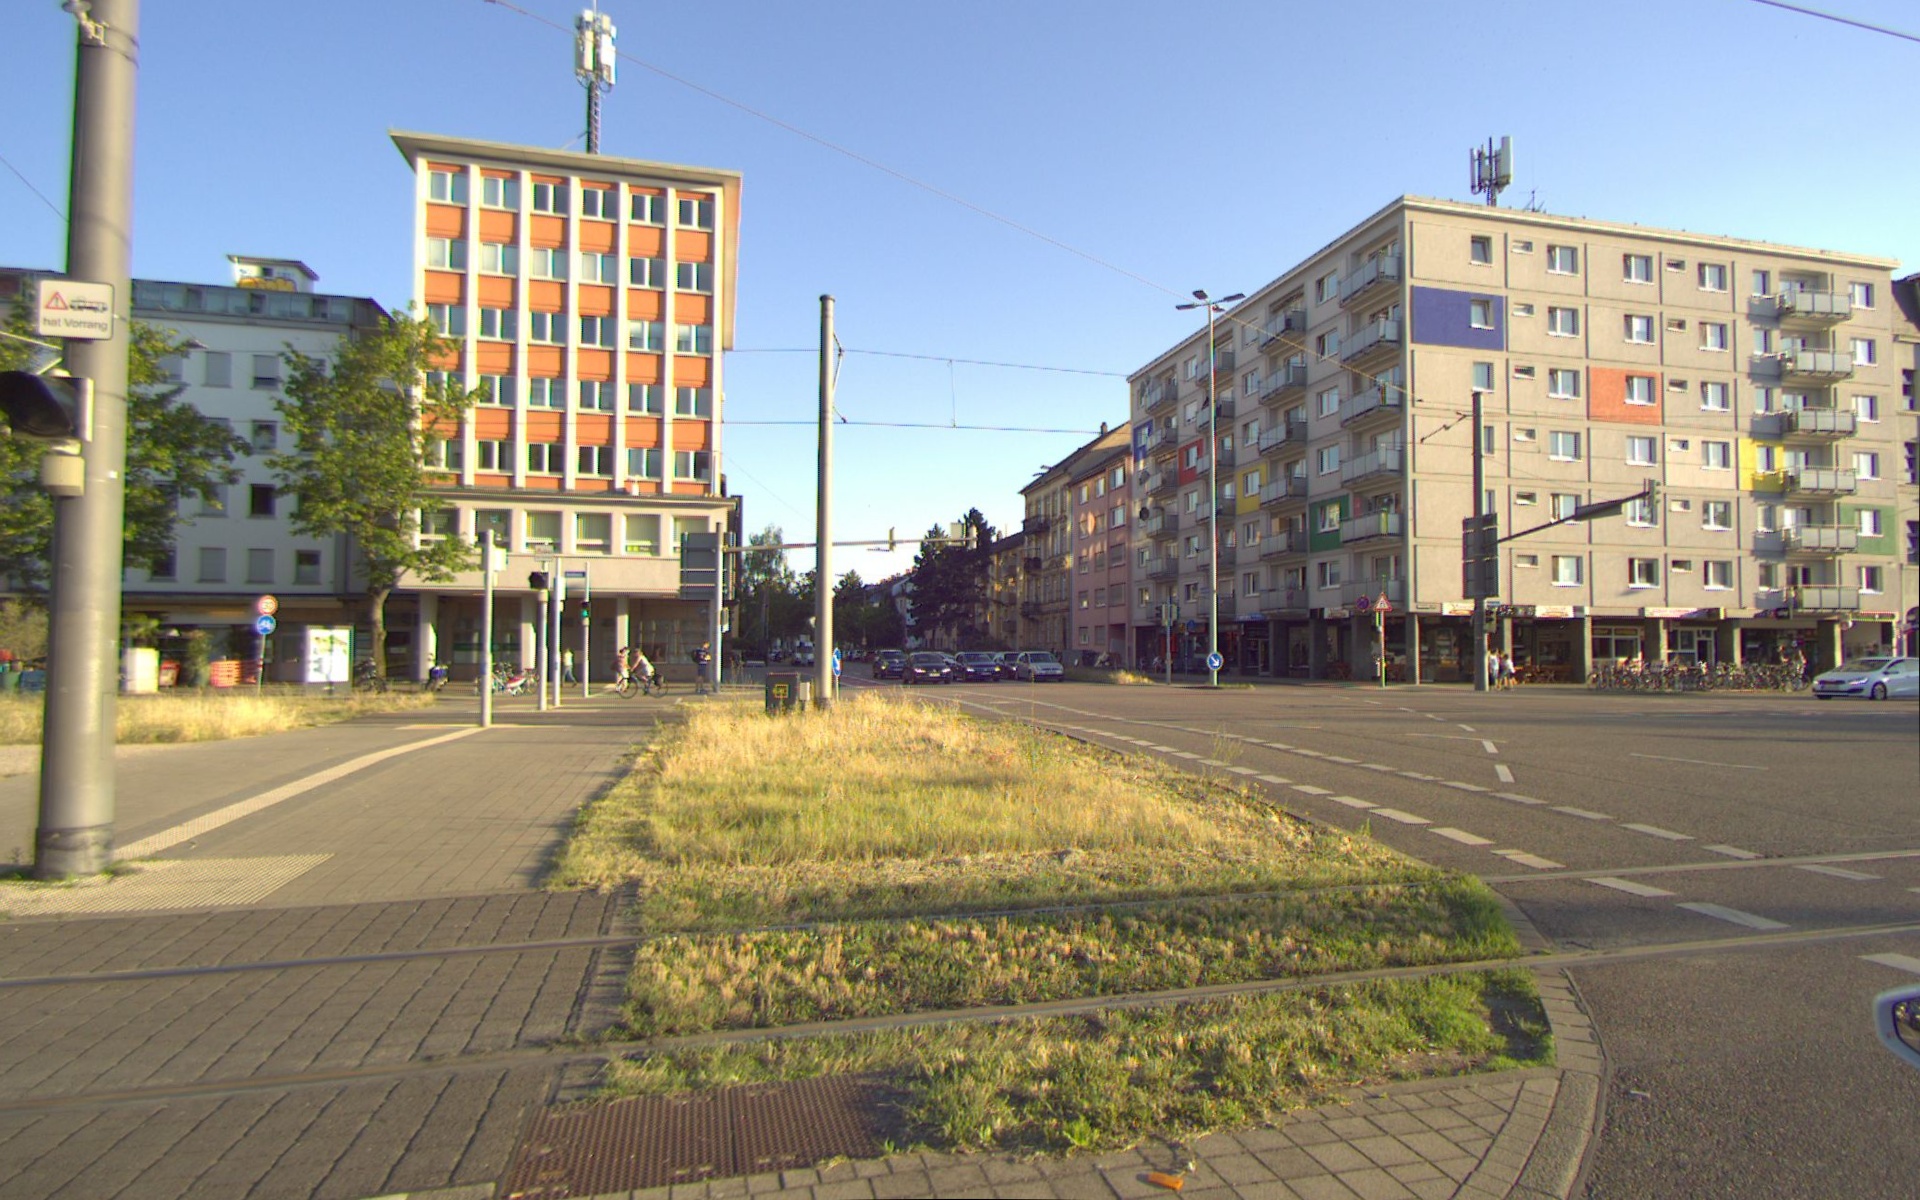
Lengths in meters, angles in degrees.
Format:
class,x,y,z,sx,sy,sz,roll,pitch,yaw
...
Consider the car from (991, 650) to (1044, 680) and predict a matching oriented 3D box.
class,x,y,z,sx,sy,sz,roll,pitch,yaw
car,3.010,3.418,53.515,1.964,1.505,3.993,1,-3,-11

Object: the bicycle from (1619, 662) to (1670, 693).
class,x,y,z,sx,sy,sz,roll,pitch,yaw
bicycle,27.589,3.112,40.488,0.589,1.154,1.758,1,-2,-13

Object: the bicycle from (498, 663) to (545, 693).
class,x,y,z,sx,sy,sz,roll,pitch,yaw
bicycle,-16.166,2.861,37.070,1.535,1.089,0.394,1,-2,-15

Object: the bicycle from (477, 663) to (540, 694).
class,x,y,z,sx,sy,sz,roll,pitch,yaw
bicycle,-16.053,2.787,35.772,1.962,1.089,0.467,1,-2,-15

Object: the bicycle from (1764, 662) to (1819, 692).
class,x,y,z,sx,sy,sz,roll,pitch,yaw
bicycle,35.103,3.235,42.434,0.735,1.185,1.692,1,-2,-12

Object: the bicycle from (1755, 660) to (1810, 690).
class,x,y,z,sx,sy,sz,roll,pitch,yaw
bicycle,34.406,3.127,42.053,0.735,1.194,1.692,1,-2,-12

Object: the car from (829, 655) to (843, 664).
class,x,y,z,sx,sy,sz,roll,pitch,yaw
car,-21.980,10.490,177.640,1.966,1.537,4.211,1,-3,-13

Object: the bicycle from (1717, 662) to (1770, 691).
class,x,y,z,sx,sy,sz,roll,pitch,yaw
bicycle,32.412,3.139,41.592,0.558,1.134,1.762,1,-2,-13

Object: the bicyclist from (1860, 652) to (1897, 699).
class,x,y,z,sx,sy,sz,roll,pitch,yaw
bicyclist,35.395,2.900,38.716,0.776,1.765,0.704,0,-2,-3

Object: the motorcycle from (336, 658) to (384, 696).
class,x,y,z,sx,sy,sz,roll,pitch,yaw
motorcycle,-21.079,2.697,35.321,1.366,1.335,0.380,1,-2,-13

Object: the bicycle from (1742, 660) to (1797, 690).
class,x,y,z,sx,sy,sz,roll,pitch,yaw
bicycle,33.705,3.103,41.854,0.693,1.168,1.692,1,-2,-12

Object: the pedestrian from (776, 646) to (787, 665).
class,x,y,z,sx,sy,sz,roll,pitch,yaw
pedestrian,-20.142,6.262,113.566,1.013,2.040,0.938,1,-2,-27

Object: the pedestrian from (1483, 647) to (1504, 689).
class,x,y,z,sx,sy,sz,roll,pitch,yaw
pedestrian,21.118,2.678,39.743,0.565,1.641,0.600,-2,-3,45

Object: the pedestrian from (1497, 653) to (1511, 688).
class,x,y,z,sx,sy,sz,roll,pitch,yaw
pedestrian,21.707,2.808,40.083,0.392,1.401,0.378,2,-3,-42

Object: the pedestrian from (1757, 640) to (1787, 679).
class,x,y,z,sx,sy,sz,roll,pitch,yaw
pedestrian,38.408,2.815,47.503,0.711,1.836,0.824,0,-2,-25

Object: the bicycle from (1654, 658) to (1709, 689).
class,x,y,z,sx,sy,sz,roll,pitch,yaw
bicycle,29.302,2.968,40.827,0.641,1.206,1.790,1,-2,-14

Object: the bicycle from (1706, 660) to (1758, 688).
class,x,y,z,sx,sy,sz,roll,pitch,yaw
bicycle,31.850,3.046,41.472,0.542,1.131,1.756,1,-2,-13

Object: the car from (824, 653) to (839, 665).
class,x,y,z,sx,sy,sz,roll,pitch,yaw
car,-21.099,9.599,164.435,1.966,1.857,4.210,1,-2,-13

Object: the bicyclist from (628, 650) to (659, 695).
class,x,y,z,sx,sy,sz,roll,pitch,yaw
bicyclist,-10.393,2.387,33.041,0.840,1.445,0.501,0,-2,1

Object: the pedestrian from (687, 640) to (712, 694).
class,x,y,z,sx,sy,sz,roll,pitch,yaw
pedestrian,-9.729,2.483,37.491,0.716,1.972,0.712,1,-2,-31

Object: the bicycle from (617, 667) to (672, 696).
class,x,y,z,sx,sy,sz,roll,pitch,yaw
bicycle,-10.364,2.678,33.042,1.635,0.956,0.509,0,-2,1

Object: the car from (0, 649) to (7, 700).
class,x,y,z,sx,sy,sz,roll,pitch,yaw
car,-34.238,2.485,33.125,3.919,1.706,2.002,0,-2,6

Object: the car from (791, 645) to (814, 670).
class,x,y,z,sx,sy,sz,roll,pitch,yaw
car,-15.511,5.620,98.712,1.966,2.354,4.211,1,-2,-13

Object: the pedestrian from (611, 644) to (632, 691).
class,x,y,z,sx,sy,sz,roll,pitch,yaw
pedestrian,-13.411,2.656,39.828,0.701,1.842,0.750,1,-2,-14

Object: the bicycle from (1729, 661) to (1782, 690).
class,x,y,z,sx,sy,sz,roll,pitch,yaw
bicycle,33.033,3.109,41.732,0.623,1.139,1.729,1,-2,-12

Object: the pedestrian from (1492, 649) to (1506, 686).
class,x,y,z,sx,sy,sz,roll,pitch,yaw
pedestrian,21.850,2.731,40.731,0.392,1.467,0.373,2,-3,-42

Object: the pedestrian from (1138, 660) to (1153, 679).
class,x,y,z,sx,sy,sz,roll,pitch,yaw
pedestrian,12.695,4.777,68.804,0.701,1.272,0.790,1,-4,-17

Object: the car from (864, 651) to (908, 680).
class,x,y,z,sx,sy,sz,roll,pitch,yaw
car,-4.240,3.686,57.053,1.965,1.551,3.991,1,-2,-12

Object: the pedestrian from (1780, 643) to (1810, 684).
class,x,y,z,sx,sy,sz,roll,pitch,yaw
pedestrian,38.711,2.935,46.553,0.724,1.865,0.784,1,-2,-23

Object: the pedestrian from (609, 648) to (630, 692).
class,x,y,z,sx,sy,sz,roll,pitch,yaw
pedestrian,-13.261,2.714,39.096,0.718,1.707,0.584,1,-2,-16

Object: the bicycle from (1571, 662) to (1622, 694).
class,x,y,z,sx,sy,sz,roll,pitch,yaw
bicycle,25.873,3.152,40.852,0.627,1.224,1.795,1,-2,-15

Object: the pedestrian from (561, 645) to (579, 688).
class,x,y,z,sx,sy,sz,roll,pitch,yaw
pedestrian,-16.949,2.877,43.636,0.630,1.815,0.584,1,-2,-16

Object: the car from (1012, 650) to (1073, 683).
class,x,y,z,sx,sy,sz,roll,pitch,yaw
car,3.947,3.182,48.837,1.964,1.505,3.993,1,-2,-11

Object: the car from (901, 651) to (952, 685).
class,x,y,z,sx,sy,sz,roll,pitch,yaw
car,-1.608,3.143,46.866,1.853,1.505,3.993,1,-3,-11

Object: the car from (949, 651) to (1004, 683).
class,x,y,z,sx,sy,sz,roll,pitch,yaw
car,0.782,3.310,50.027,1.964,1.505,3.993,1,-3,-11

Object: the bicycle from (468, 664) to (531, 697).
class,x,y,z,sx,sy,sz,roll,pitch,yaw
bicycle,-15.681,2.739,34.231,1.875,1.089,0.467,1,-2,-15

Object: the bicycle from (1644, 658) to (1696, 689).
class,x,y,z,sx,sy,sz,roll,pitch,yaw
bicycle,28.688,2.978,40.633,0.558,1.197,1.770,1,-2,-14

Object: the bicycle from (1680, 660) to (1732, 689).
class,x,y,z,sx,sy,sz,roll,pitch,yaw
bicycle,31.135,3.092,41.951,0.595,1.150,1.772,1,-2,-13

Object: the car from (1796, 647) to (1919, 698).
class,x,y,z,sx,sy,sz,roll,pitch,yaw
car,30.337,2.397,33.515,3.931,1.639,1.691,1,-3,-13

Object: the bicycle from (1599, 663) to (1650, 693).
class,x,y,z,sx,sy,sz,roll,pitch,yaw
bicycle,26.896,3.153,40.696,0.598,1.157,1.778,1,-2,-14

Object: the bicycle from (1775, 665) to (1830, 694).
class,x,y,z,sx,sy,sz,roll,pitch,yaw
bicycle,35.784,3.353,42.684,0.684,1.159,1.692,1,-2,-12

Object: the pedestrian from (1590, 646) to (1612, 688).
class,x,y,z,sx,sy,sz,roll,pitch,yaw
pedestrian,26.828,2.795,42.039,0.541,1.706,0.575,2,-3,-35

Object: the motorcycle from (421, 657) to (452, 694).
class,x,y,z,sx,sy,sz,roll,pitch,yaw
motorcycle,-19.587,2.798,37.640,0.536,1.335,1.832,1,-2,-12

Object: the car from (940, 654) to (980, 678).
class,x,y,z,sx,sy,sz,roll,pitch,yaw
car,-0.019,4.416,67.387,1.964,1.505,3.993,1,-3,-11

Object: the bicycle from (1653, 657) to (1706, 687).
class,x,y,z,sx,sy,sz,roll,pitch,yaw
bicycle,29.835,2.970,41.674,0.629,1.176,1.832,1,-2,-14

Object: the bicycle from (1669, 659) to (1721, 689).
class,x,y,z,sx,sy,sz,roll,pitch,yaw
bicycle,30.529,3.064,41.745,0.595,1.174,1.777,1,-2,-14

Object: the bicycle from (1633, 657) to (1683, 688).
class,x,y,z,sx,sy,sz,roll,pitch,yaw
bicycle,28.119,2.904,40.498,0.531,1.183,1.767,1,-2,-13
